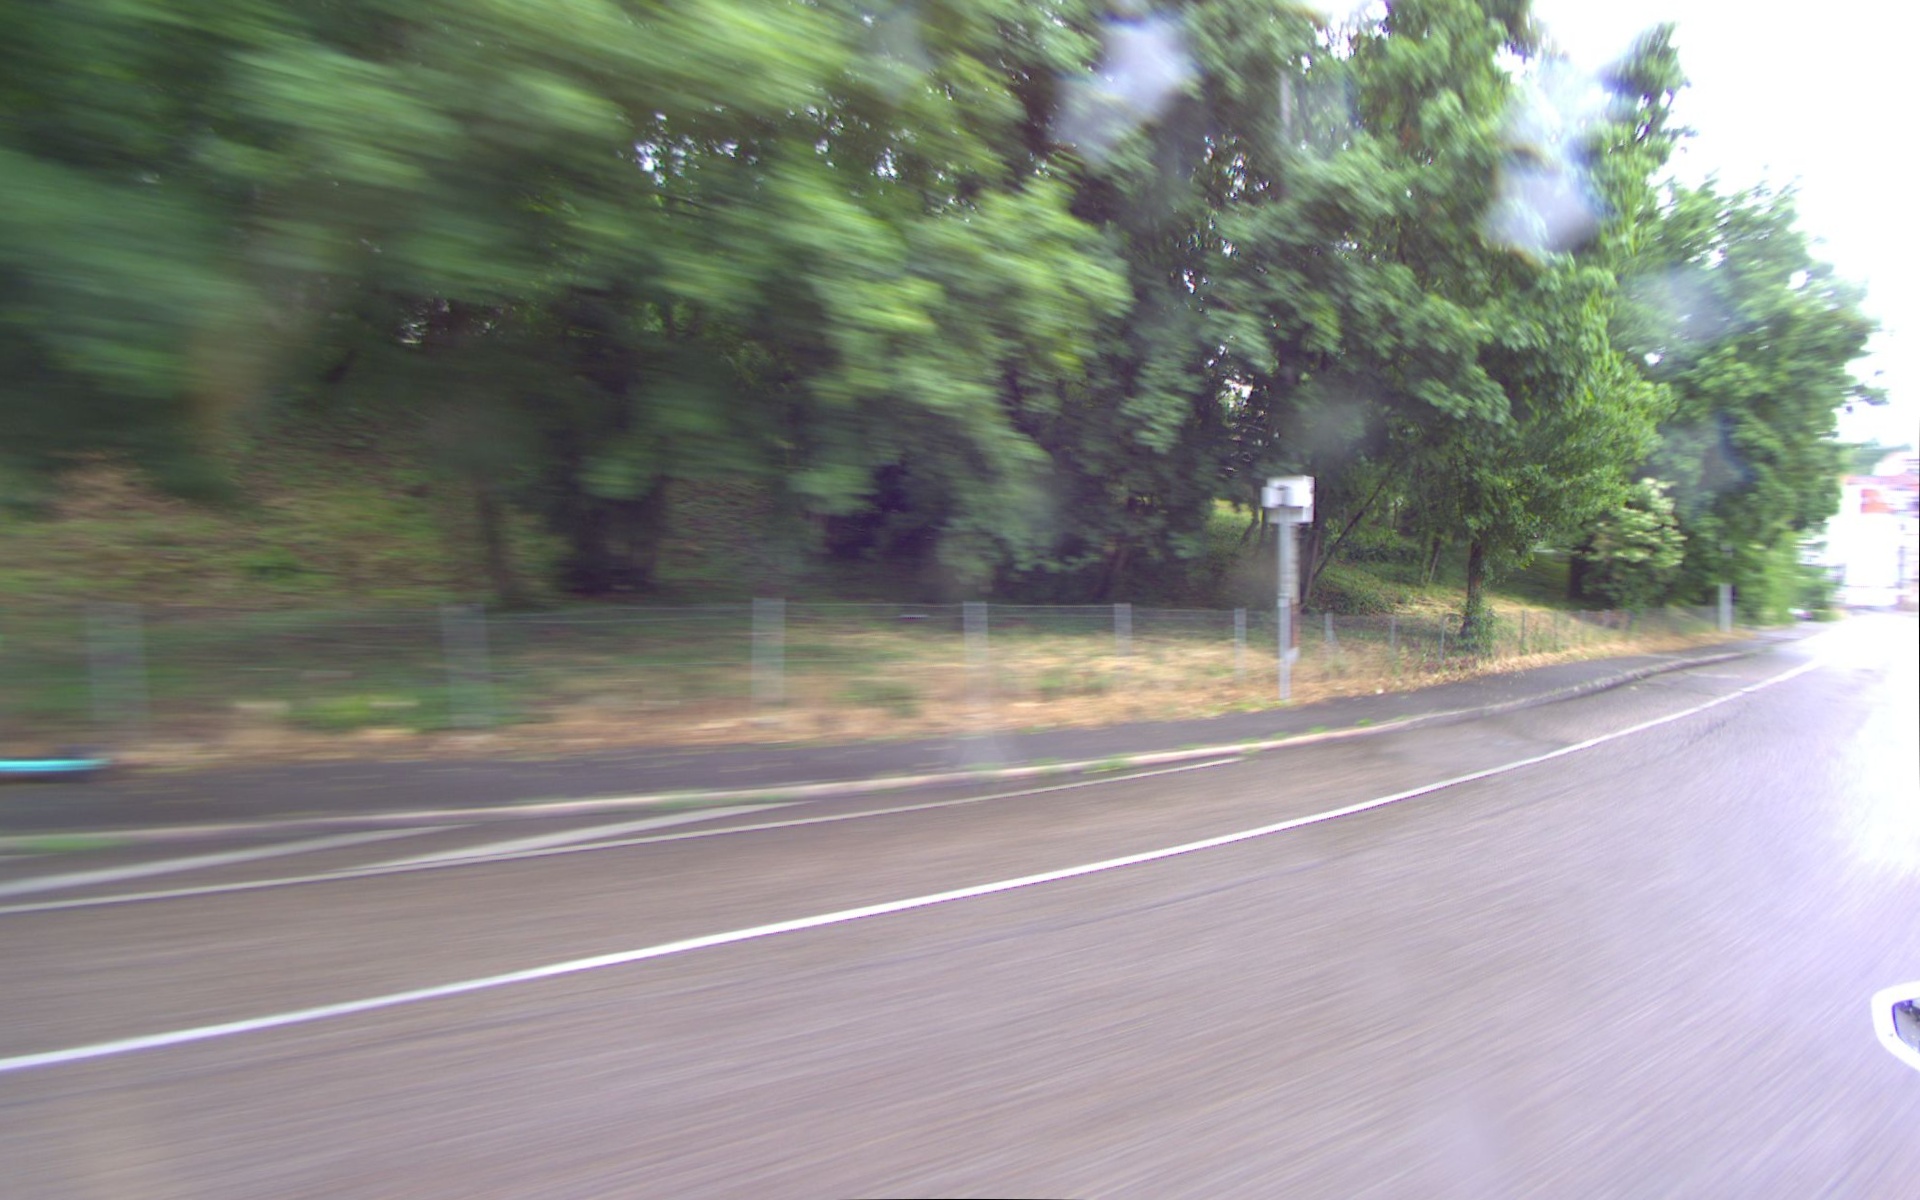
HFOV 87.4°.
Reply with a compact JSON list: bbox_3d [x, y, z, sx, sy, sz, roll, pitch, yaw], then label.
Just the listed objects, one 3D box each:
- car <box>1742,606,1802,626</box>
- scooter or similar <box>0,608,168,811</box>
[{"bbox_3d":[66.093,1.304,81.759,1.772,1.426,3.595,1,2,-44],"label":"car"},{"bbox_3d":[-6.450,0.733,6.919,1.413,1.285,0.608,2,5,-13],"label":"scooter or similar"}]
